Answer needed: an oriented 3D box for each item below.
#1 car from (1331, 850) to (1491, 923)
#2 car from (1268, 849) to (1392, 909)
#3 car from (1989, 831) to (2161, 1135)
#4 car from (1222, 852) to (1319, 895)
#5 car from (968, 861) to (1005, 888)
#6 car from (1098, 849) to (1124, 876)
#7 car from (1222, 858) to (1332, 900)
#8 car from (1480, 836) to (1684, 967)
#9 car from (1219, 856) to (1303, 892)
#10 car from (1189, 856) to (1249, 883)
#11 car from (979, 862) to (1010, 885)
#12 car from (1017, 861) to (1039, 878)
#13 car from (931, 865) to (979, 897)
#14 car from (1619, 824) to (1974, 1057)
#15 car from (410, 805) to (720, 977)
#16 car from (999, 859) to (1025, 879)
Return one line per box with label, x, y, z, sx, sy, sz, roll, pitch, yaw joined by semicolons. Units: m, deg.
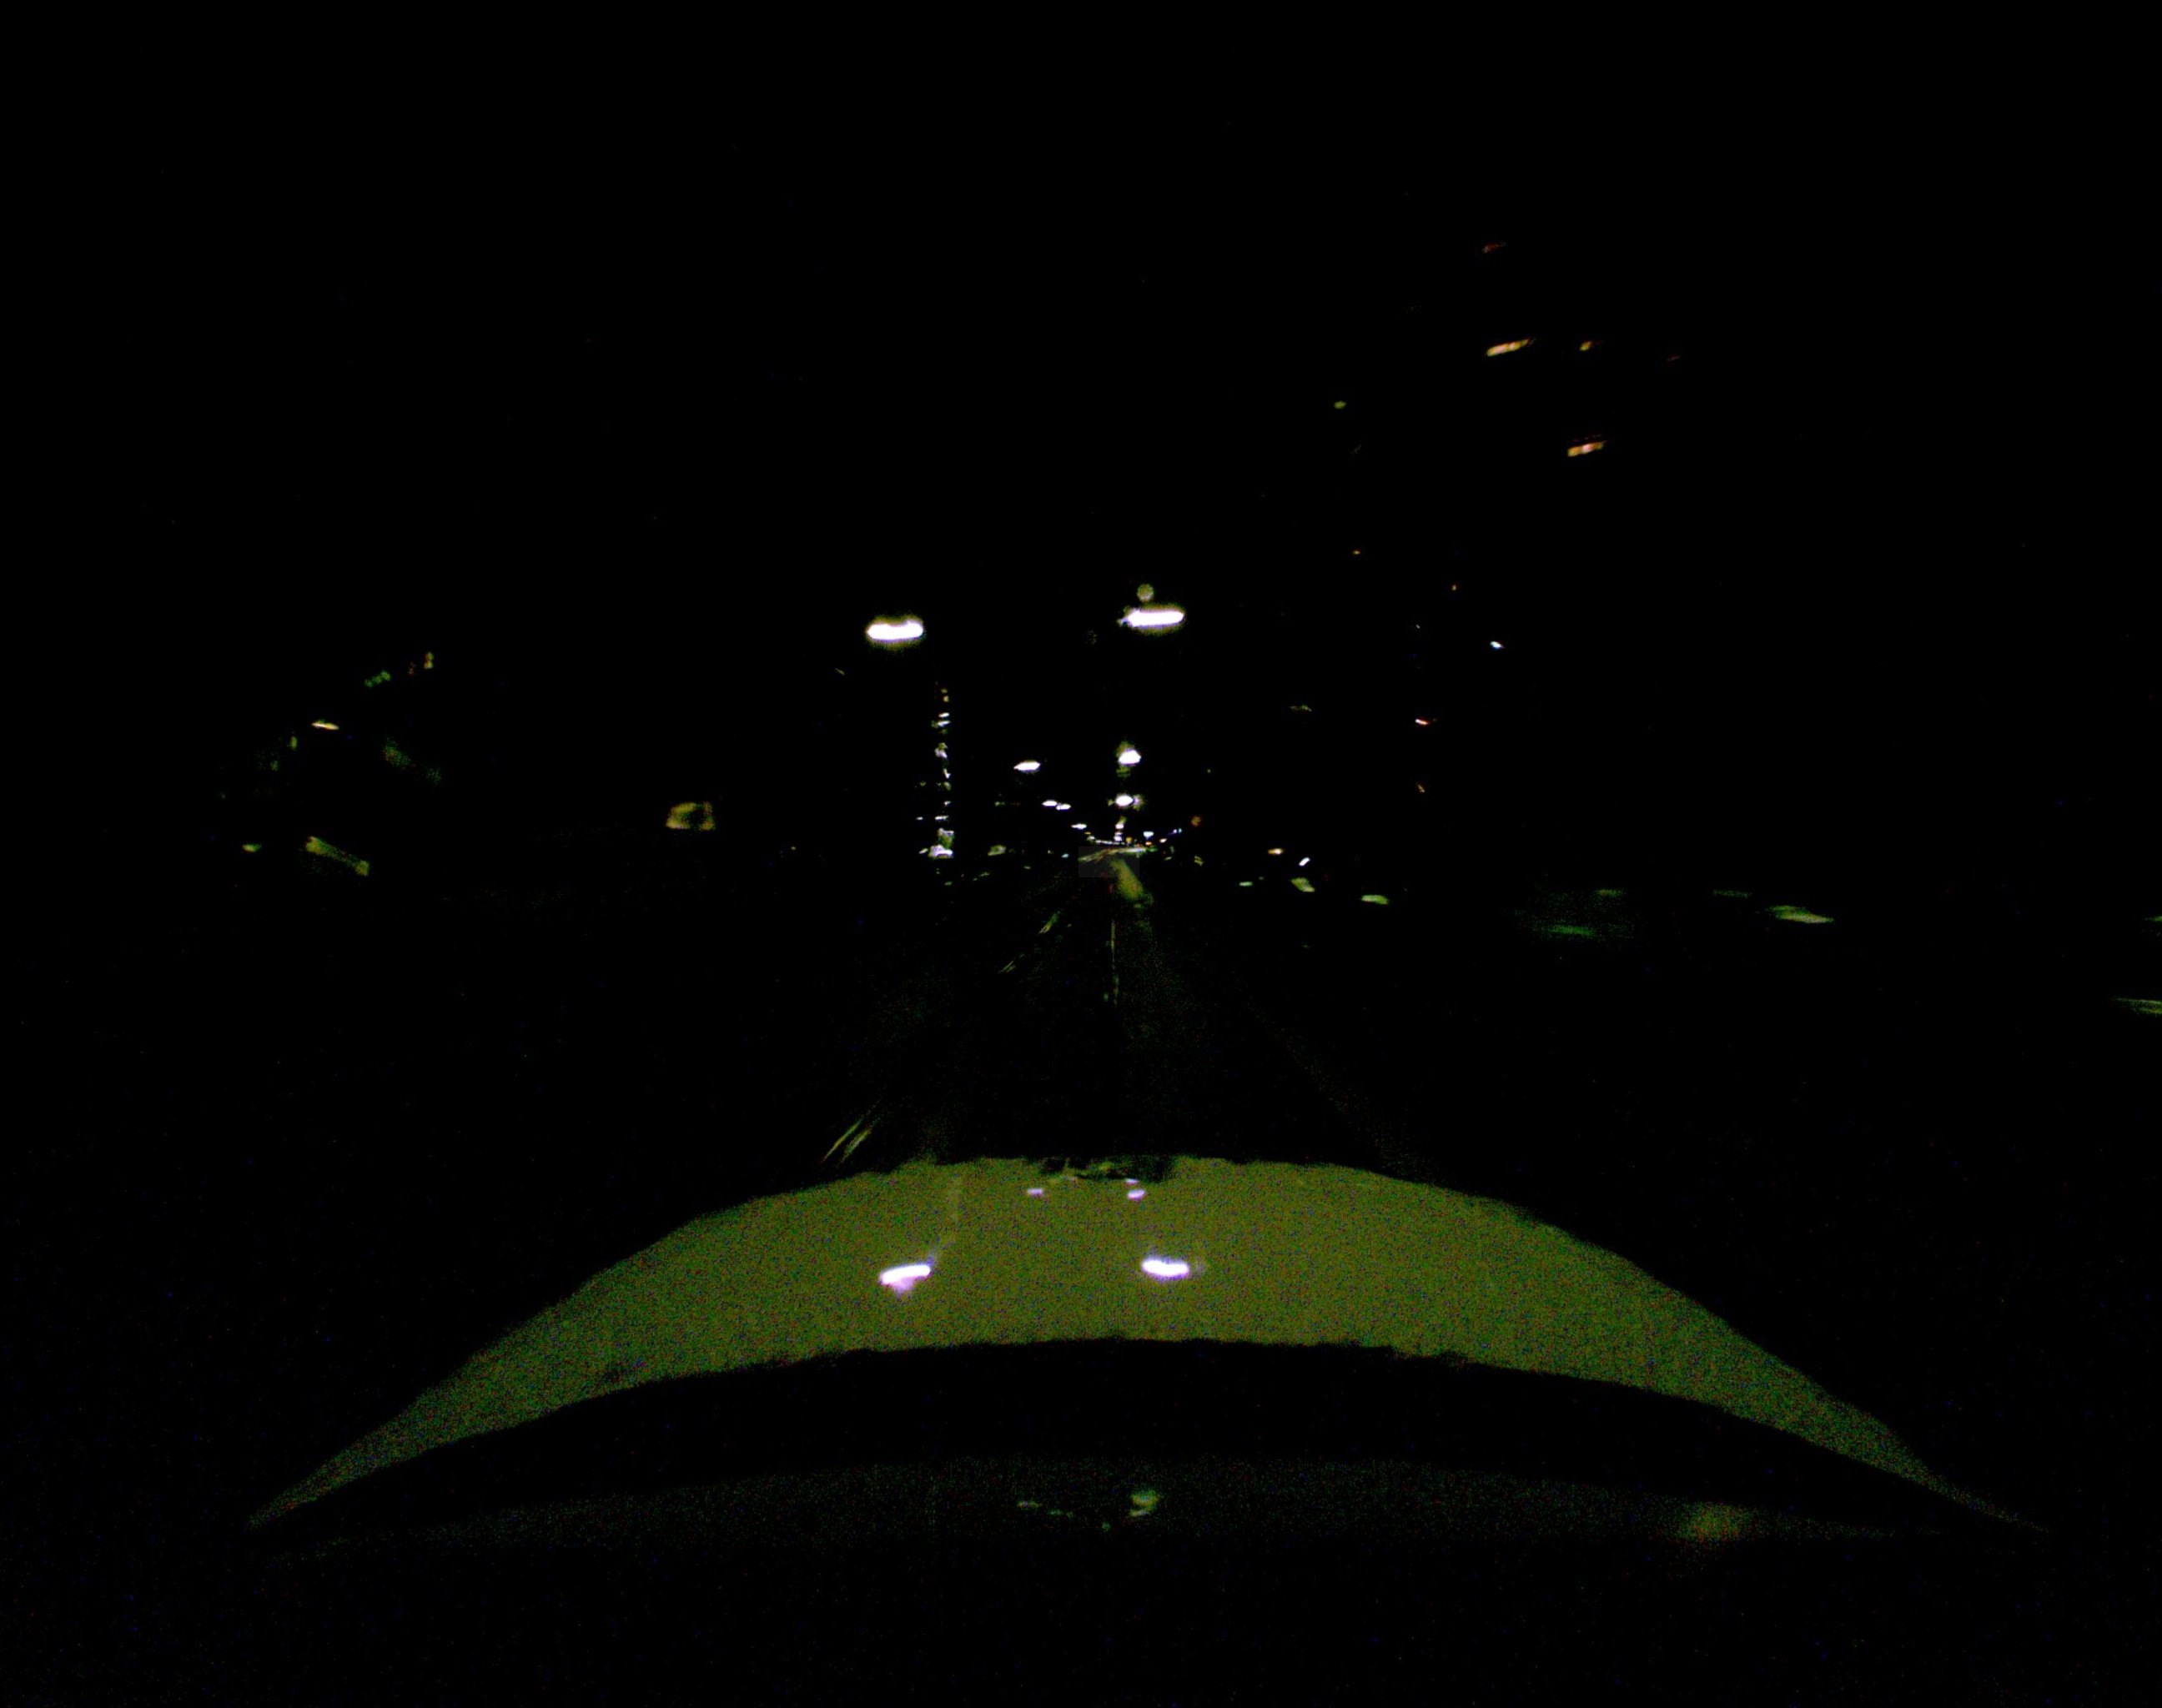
car;7.259;0.629;17.768;3.848;1.430;1.618;0;0;-40
car;7.451;0.709;24.182;2.030;1.623;3.851;0;-1;44
car;6.837;0.628;4.834;3.877;1.433;1.799;1;-1;-44
car;8.036;0.797;34.325;4.272;1.698;2.005;1;-1;-44
car;-6.585;1.440;57.172;1.992;1.785;4.001;1;-1;2
car;2.715;0.790;75.353;2.209;2.442;5.384;-1;0;0
car;7.340;0.890;30.259;4.271;1.454;1.927;1;-1;-42
car;7.202;0.567;11.546;1.682;1.533;3.774;2;0;44
car;8.338;0.888;37.492;3.984;1.572;1.887;1;-1;-44
car;8.487;0.919;49.861;1.886;1.572;3.987;0;-1;41
car;-7.135;1.618;67.909;2.015;1.761;4.001;1;-1;1
car;-5.734;1.701;88.288;2.015;1.761;4.001;1;-1;1
car;-7.470;1.580;48.766;2.102;1.765;4.963;1;-1;-1
car;6.544;0.570;7.310;3.908;1.534;1.800;0;0;-40
car;-8.818;0.547;14.759;2.018;2.499;5.606;1;0;0
car;-6.547;1.413;77.282;2.015;1.761;4.001;1;-1;1
